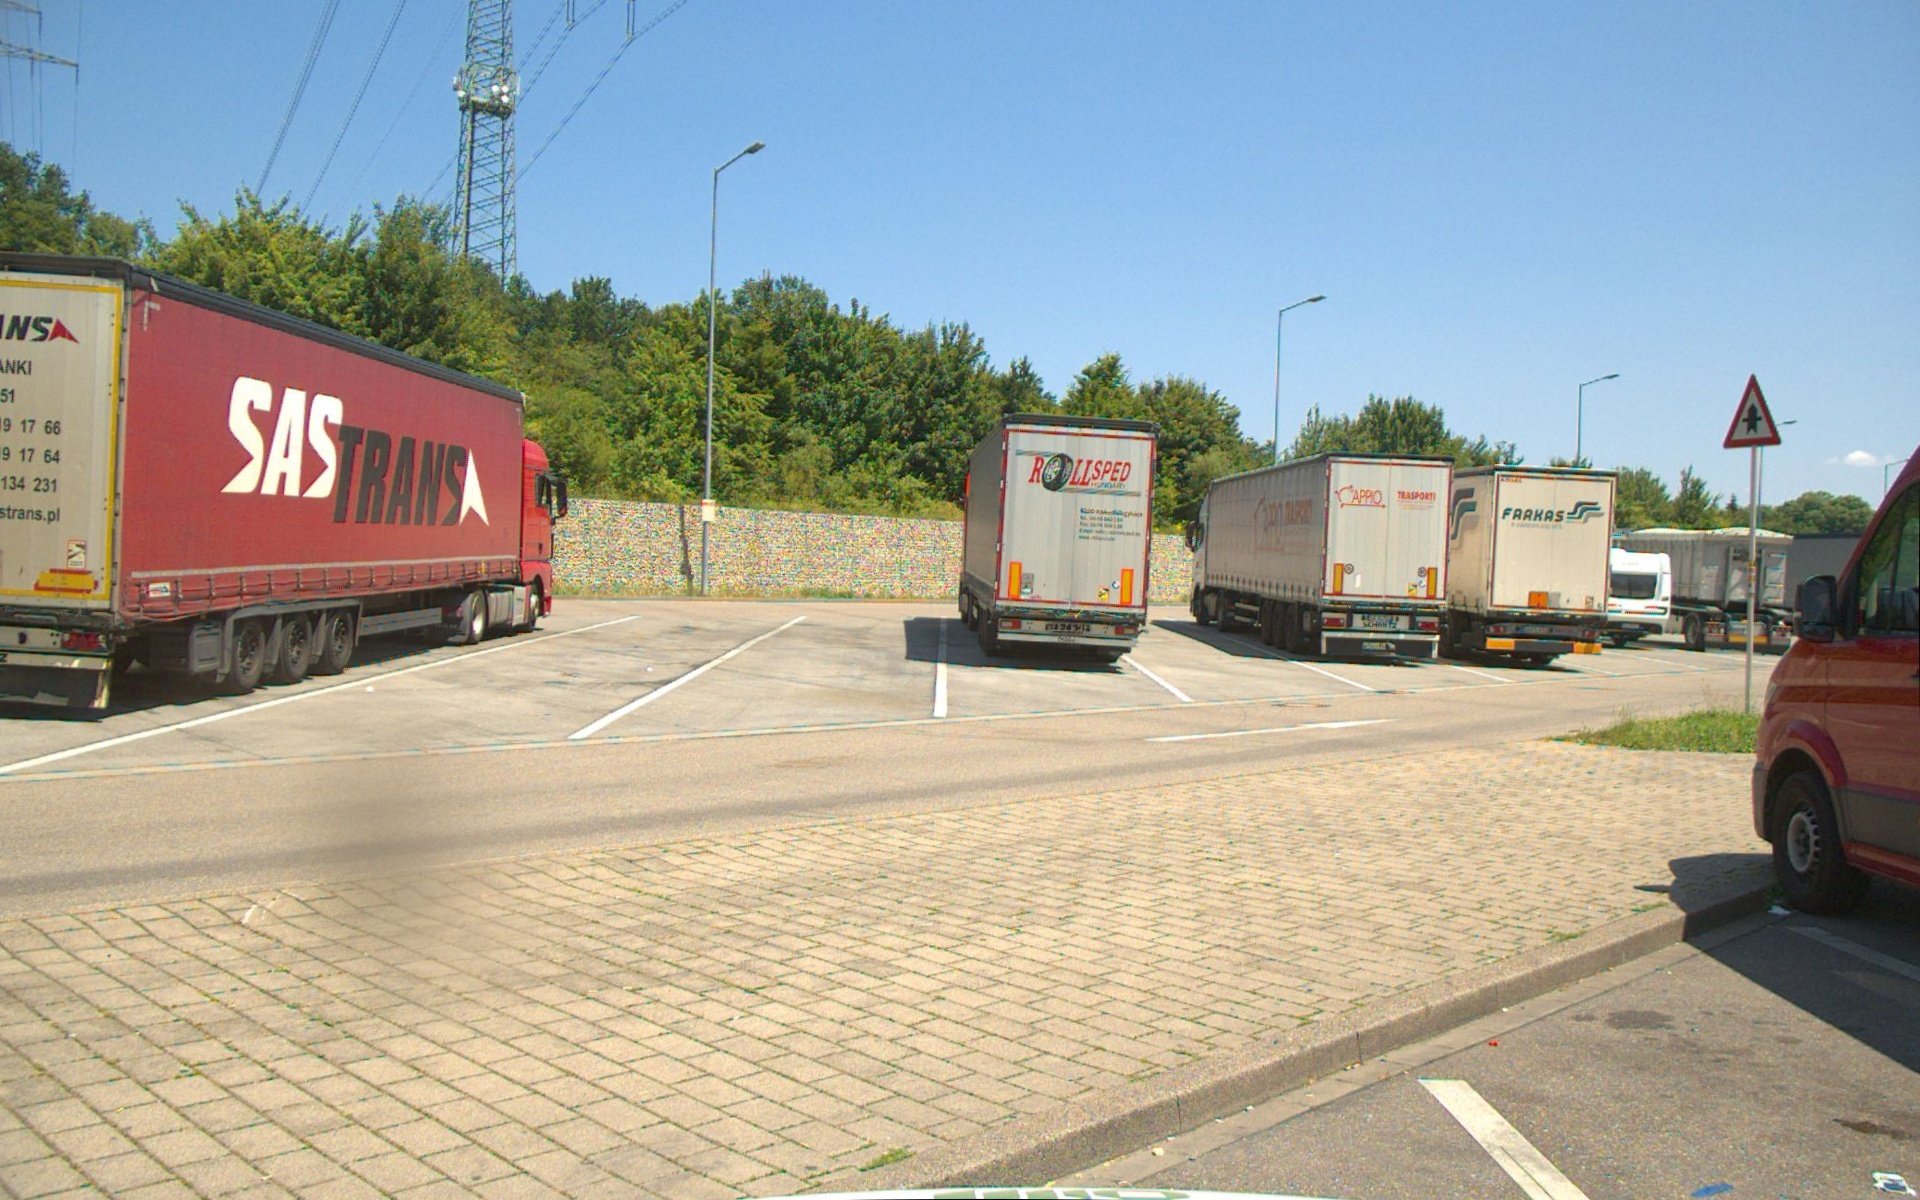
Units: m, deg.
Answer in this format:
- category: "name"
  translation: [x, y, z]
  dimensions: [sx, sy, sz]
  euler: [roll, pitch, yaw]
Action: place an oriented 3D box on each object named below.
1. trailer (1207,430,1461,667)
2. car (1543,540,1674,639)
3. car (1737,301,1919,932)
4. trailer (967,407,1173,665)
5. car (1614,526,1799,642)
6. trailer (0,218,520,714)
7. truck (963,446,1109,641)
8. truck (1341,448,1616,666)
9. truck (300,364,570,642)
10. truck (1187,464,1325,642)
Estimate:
- category: "trailer"
  translation: [8.178, -1.100, 38.316]
  dimensions: [2.627, 4.530, 12.826]
  euler: [1, 1, -1]
- category: "car"
  translation: [18.239, -0.271, 46.726]
  dimensions: [2.072, 2.645, 3.999]
  euler: [1, 0, -1]
- category: "car"
  translation: [4.988, 0.103, 5.595]
  dimensions: [1.952, 2.679, 6.385]
  euler: [1, 1, 3]
- category: "trailer"
  translation: [1.784, -1.129, 32.133]
  dimensions: [2.839, 4.083, 11.313]
  euler: [1, 1, -2]
- category: "car"
  translation: [21.704, -0.499, 48.484]
  dimensions: [2.448, 3.128, 6.350]
  euler: [1, 1, -1]
- category: "trailer"
  translation: [-8.636, -1.293, 20.976]
  dimensions: [2.743, 4.293, 13.200]
  euler: [1, 1, -1]
- category: "truck"
  translation: [1.604, -1.241, 37.709]
  dimensions: [2.813, 4.050, 6.027]
  euler: [1, 1, -2]
- category: "truck"
  translation: [11.718, -0.837, 38.955]
  dimensions: [2.534, 4.299, 11.967]
  euler: [1, 0, -1]
- category: "truck"
  translation: [-8.722, -1.527, 28.231]
  dimensions: [2.749, 4.205, 5.893]
  euler: [1, 1, -1]
- category: "truck"
  translation: [8.024, -1.254, 45.470]
  dimensions: [2.607, 4.530, 5.863]
  euler: [1, 1, -1]
